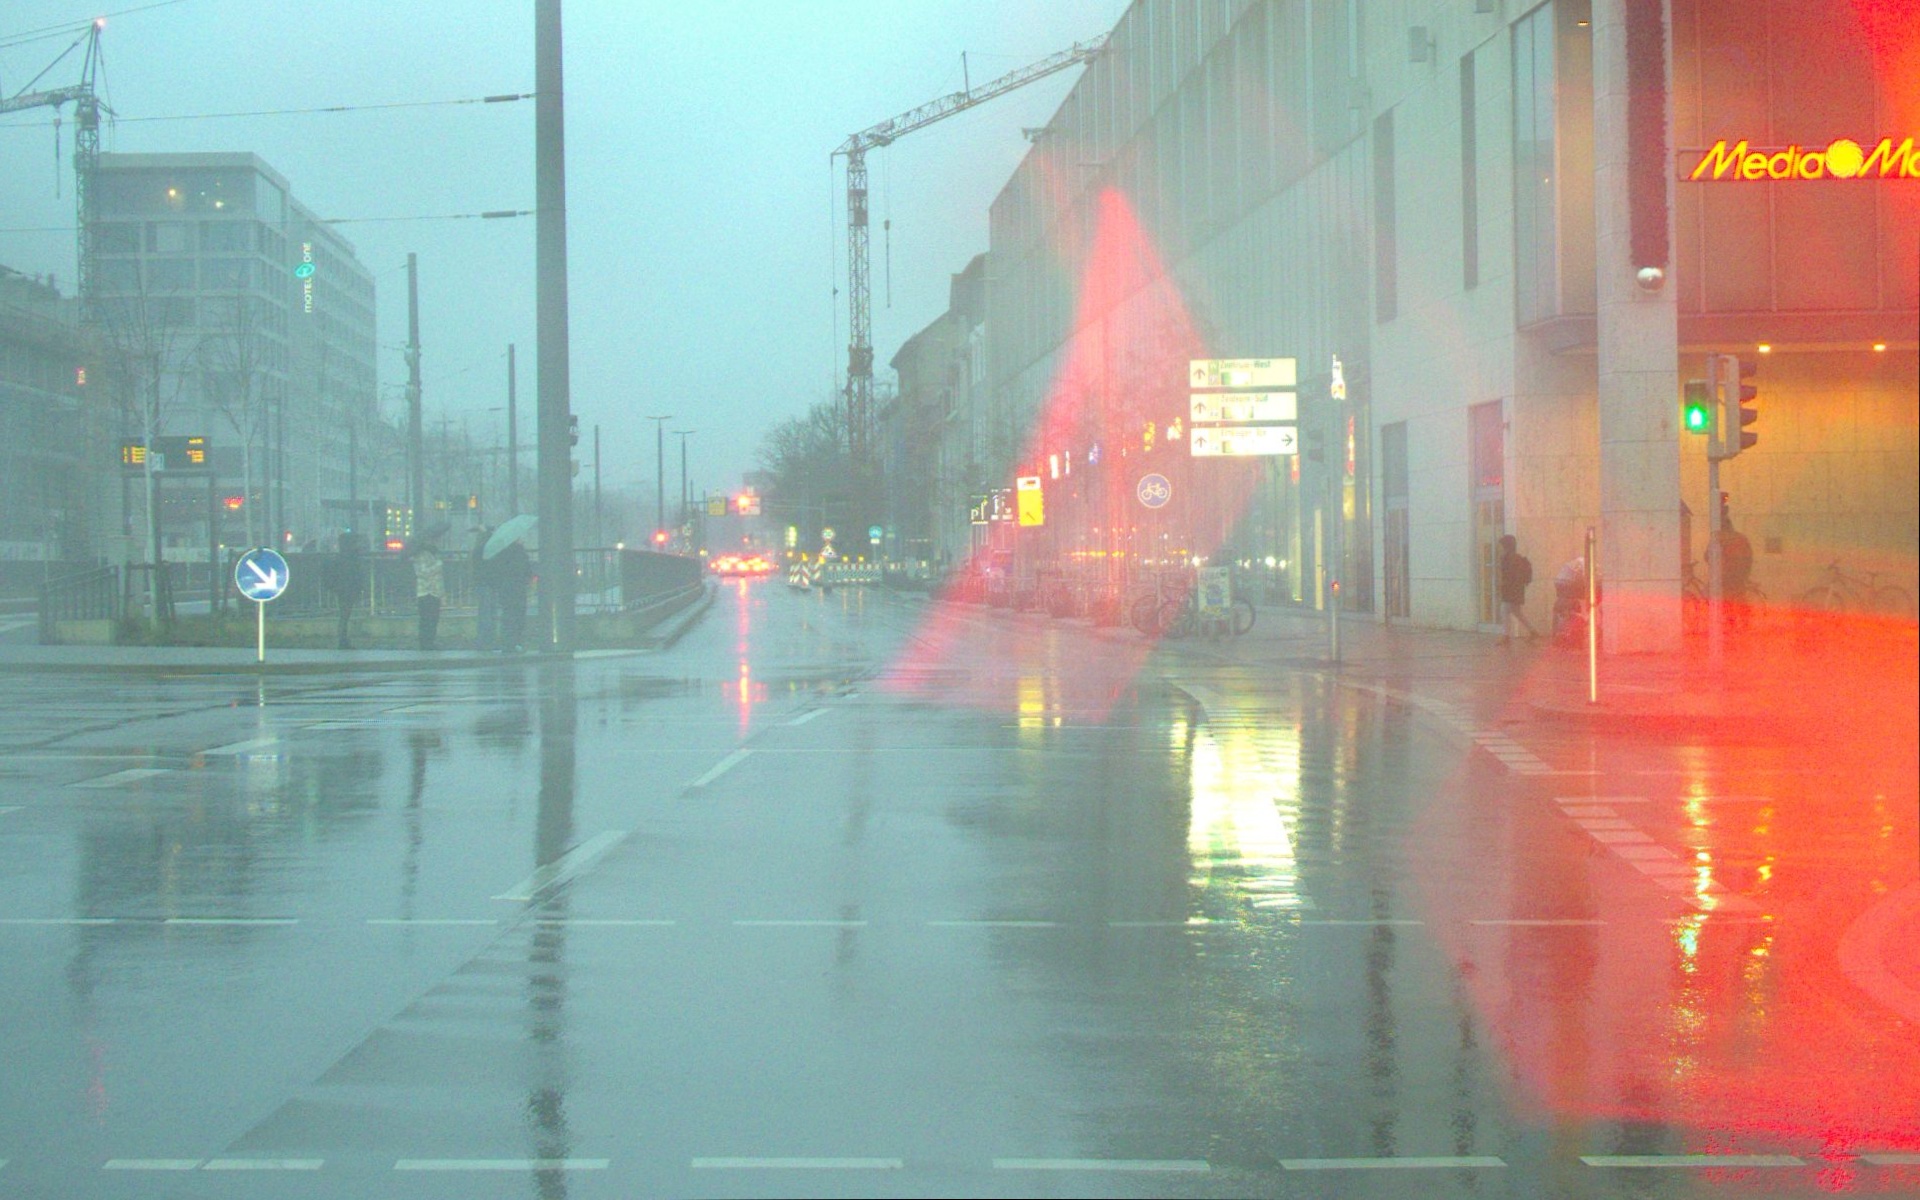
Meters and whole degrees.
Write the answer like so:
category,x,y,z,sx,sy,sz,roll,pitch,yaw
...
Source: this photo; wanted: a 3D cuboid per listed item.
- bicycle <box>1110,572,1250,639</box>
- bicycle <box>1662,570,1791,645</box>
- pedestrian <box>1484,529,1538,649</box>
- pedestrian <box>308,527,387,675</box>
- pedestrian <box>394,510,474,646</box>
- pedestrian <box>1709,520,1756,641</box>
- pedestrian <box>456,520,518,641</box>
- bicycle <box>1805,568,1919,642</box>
category,x,y,z,sx,sy,sz,roll,pitch,yaw
bicycle,3.944,0.095,61.636,2.442,1.150,0.674,-1,0,-1
bicycle,11.295,0.110,50.679,1.767,1.066,0.525,1,0,-8
pedestrian,7.891,-0.163,49.238,0.636,1.703,0.573,-1,0,-1
pedestrian,-8.434,0.010,47.329,0.785,2.007,0.726,1,1,42
pedestrian,-7.126,-0.302,46.580,0.821,1.825,0.786,1,0,-31
pedestrian,11.237,-0.286,50.031,0.600,1.739,0.524,1,0,8
pedestrian,-6.605,-0.278,47.986,0.612,1.680,0.577,1,1,42
bicycle,13.392,0.070,50.816,1.646,1.066,0.525,1,0,-4
